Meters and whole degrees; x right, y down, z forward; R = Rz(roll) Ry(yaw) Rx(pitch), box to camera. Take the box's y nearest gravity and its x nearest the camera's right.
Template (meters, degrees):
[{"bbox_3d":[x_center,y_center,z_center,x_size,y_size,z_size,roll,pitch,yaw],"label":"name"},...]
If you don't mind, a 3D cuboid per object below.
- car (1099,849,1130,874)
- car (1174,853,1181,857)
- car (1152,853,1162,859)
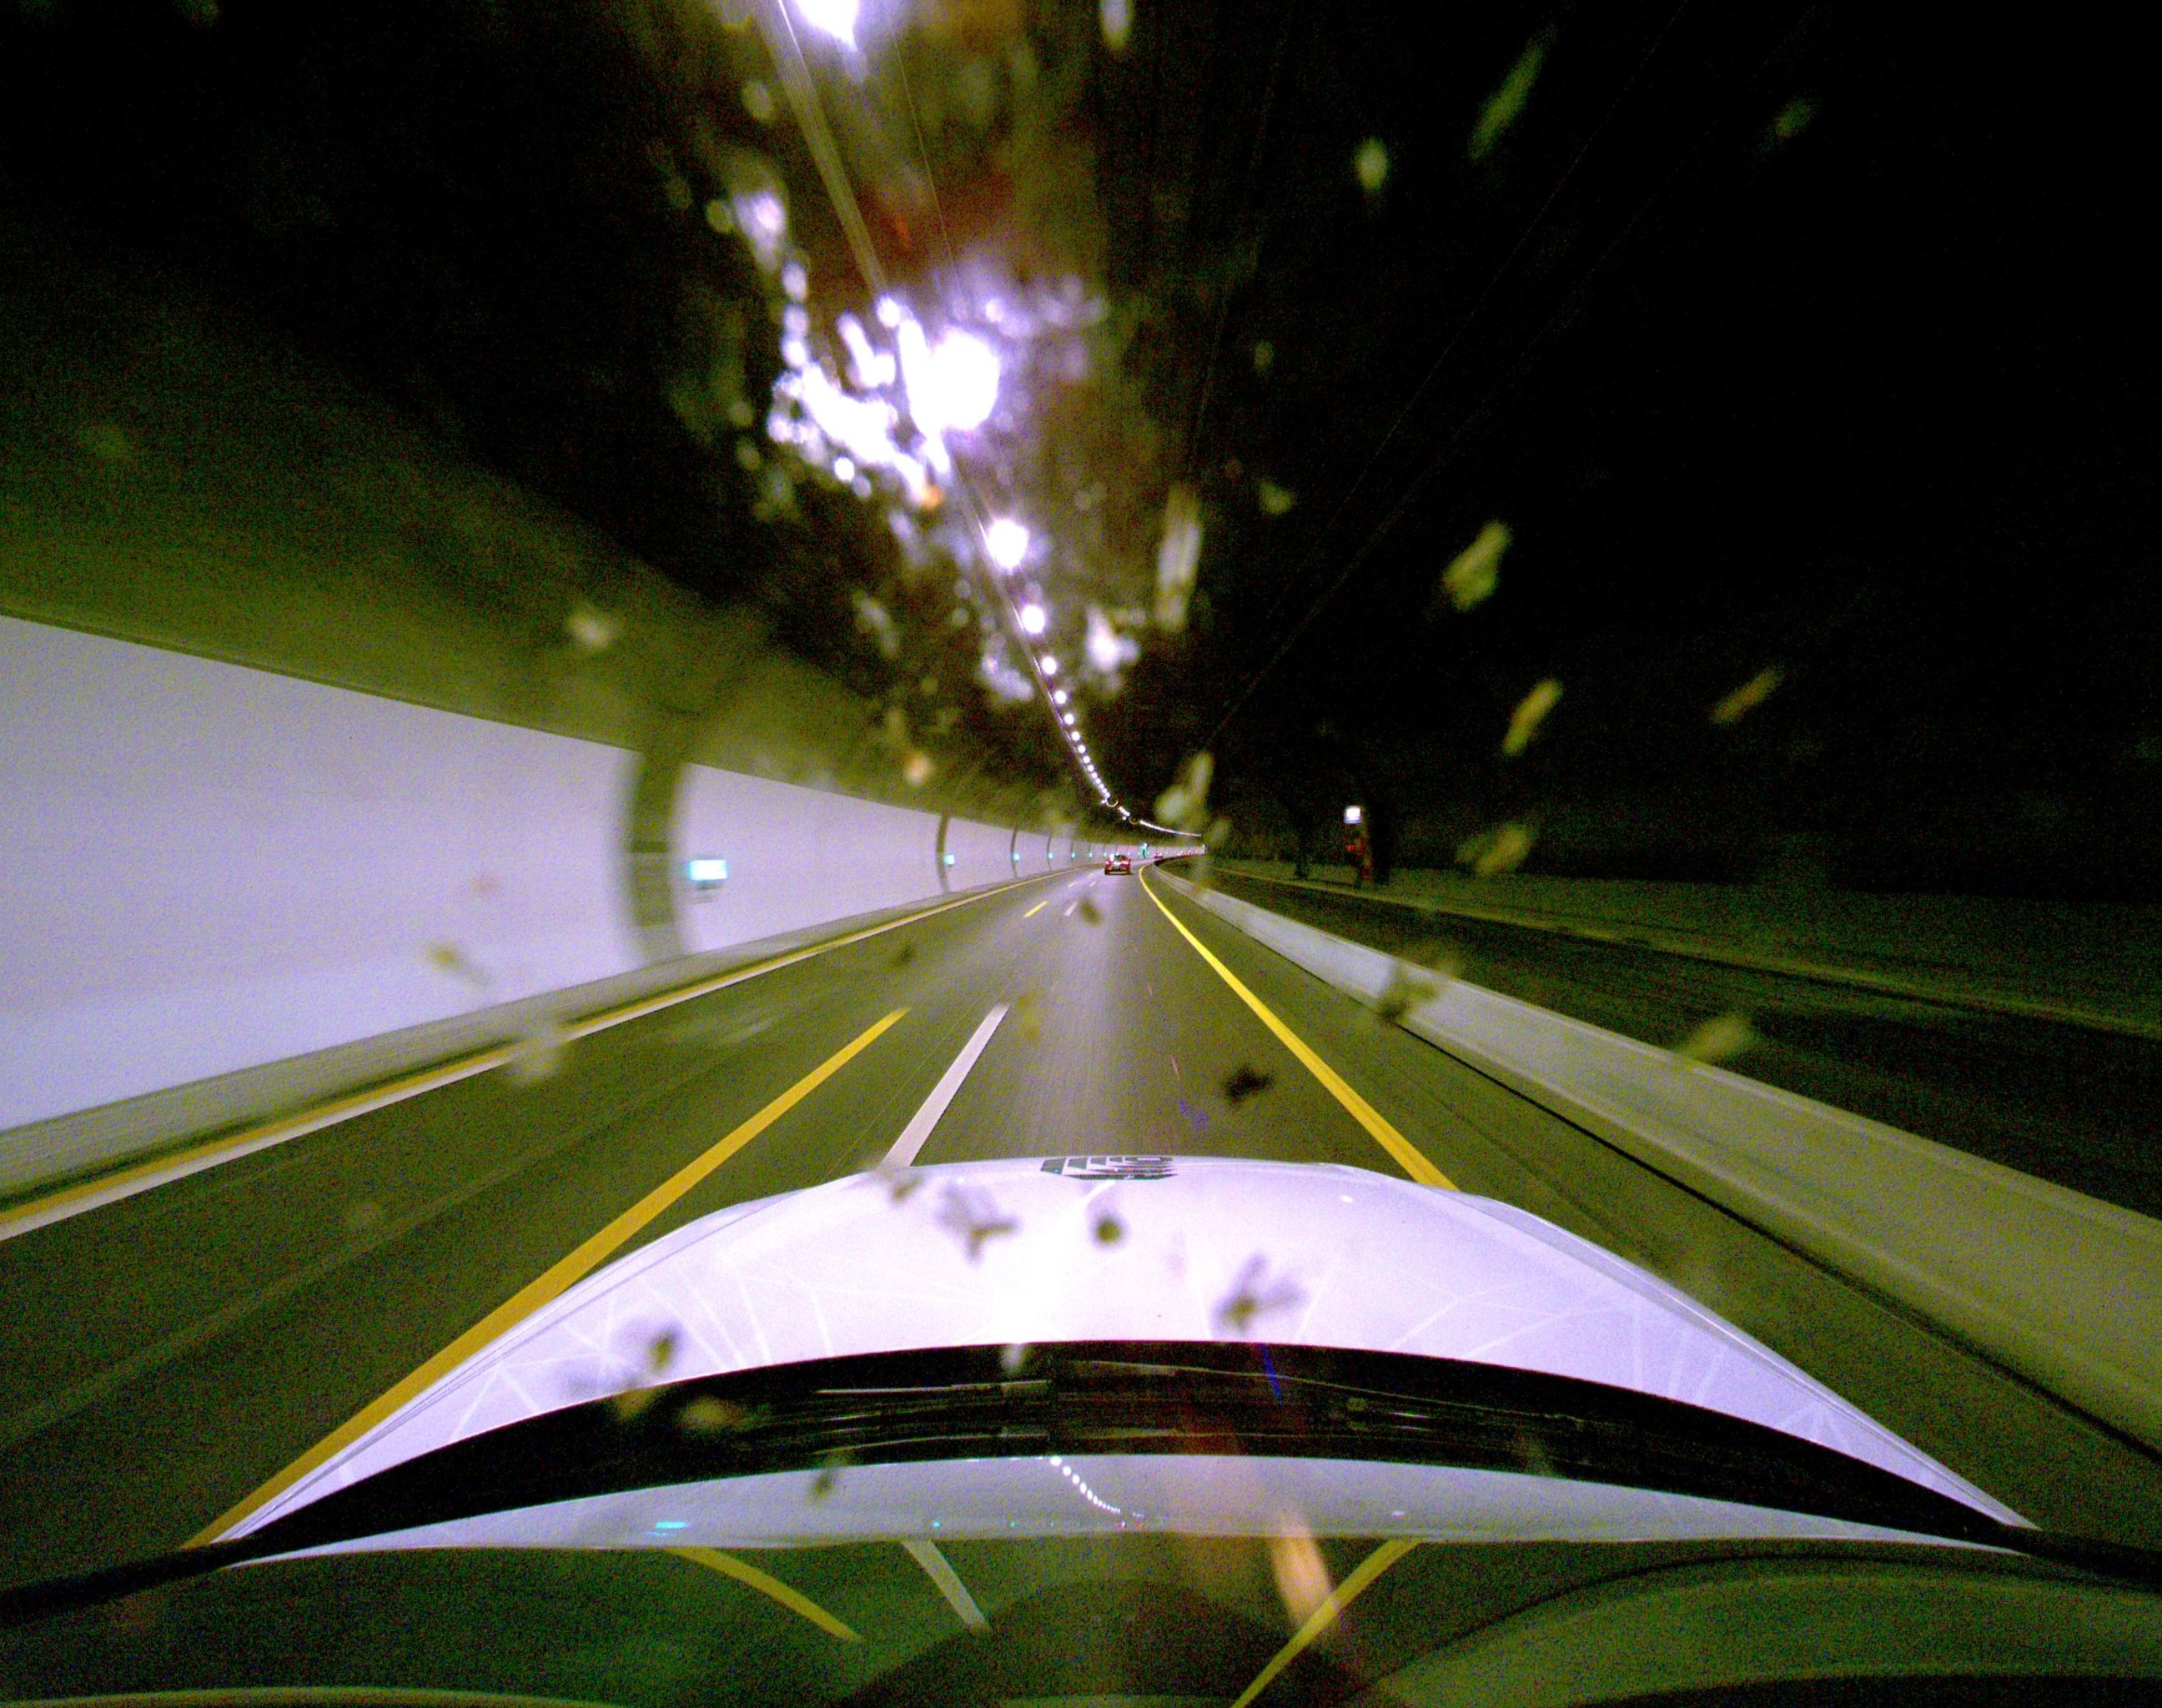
[{"bbox_3d":[2.430,0.501,59.342,2.132,1.706,4.003,-1,0,3],"label":"car"},{"bbox_3d":[27.738,0.294,233.644,1.585,1.333,3.762,-1,0,11],"label":"car"},{"bbox_3d":[19.014,0.536,202.870,2.152,1.486,4.010,-1,0,9],"label":"car"}]
